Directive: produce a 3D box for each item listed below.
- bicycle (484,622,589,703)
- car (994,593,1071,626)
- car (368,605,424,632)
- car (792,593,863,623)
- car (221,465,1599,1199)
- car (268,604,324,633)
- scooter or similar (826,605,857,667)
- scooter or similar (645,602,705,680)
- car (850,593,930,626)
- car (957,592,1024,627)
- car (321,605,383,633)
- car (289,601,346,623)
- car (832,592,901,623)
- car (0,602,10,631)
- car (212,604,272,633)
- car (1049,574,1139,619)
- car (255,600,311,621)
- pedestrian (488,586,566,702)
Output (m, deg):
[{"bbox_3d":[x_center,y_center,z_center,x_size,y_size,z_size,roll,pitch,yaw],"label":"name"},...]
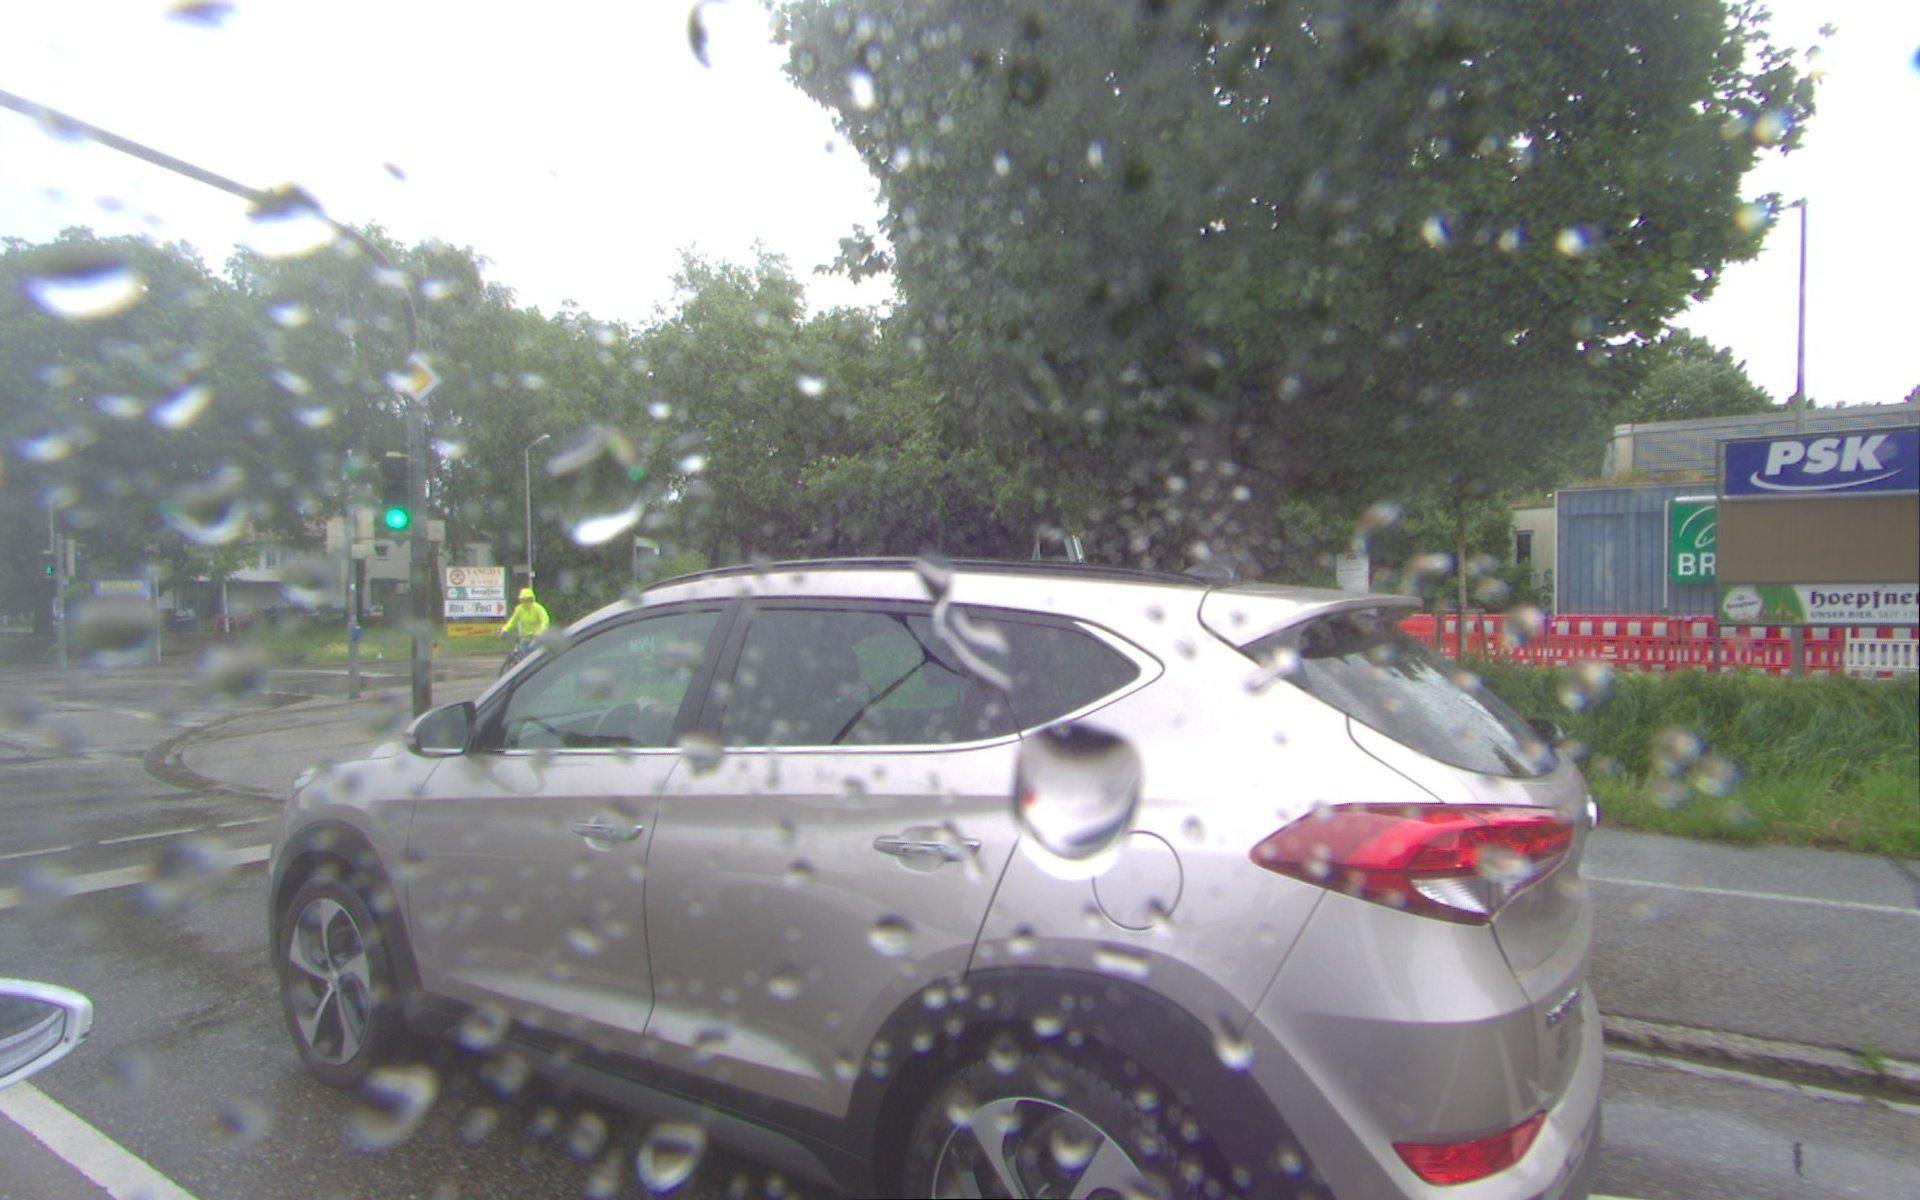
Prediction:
[{"bbox_3d":[-6.596,0.955,15.692,0.774,1.053,1.663,-2,3,5],"label":"bicycle"},{"bbox_3d":[3.553,0.492,48.460,1.900,1.508,4.171,-1,-2,34],"label":"car"},{"bbox_3d":[-31.208,1.067,55.543,1.573,1.467,3.751,0,-2,-11],"label":"car"},{"bbox_3d":[-7.382,0.486,56.403,1.894,1.603,4.590,-1,-2,23],"label":"car"},{"bbox_3d":[-0.402,0.711,3.232,4.137,1.631,1.880,-2,-2,33],"label":"car"},{"bbox_3d":[-36.105,1.037,54.525,1.641,1.467,3.744,0,-2,-19],"label":"car"},{"bbox_3d":[-2.307,0.702,19.530,0.553,1.192,0.284,0,1,39],"label":"scooter or similar"},{"bbox_3d":[-4.709,0.657,16.564,0.317,1.246,0.954,0,1,36],"label":"scooter or similar"},{"bbox_3d":[-3.634,0.545,52.755,1.898,1.651,4.579,-1,-2,31],"label":"car"},{"bbox_3d":[1.580,0.511,50.173,1.697,1.617,3.649,-1,-2,34],"label":"car"},{"bbox_3d":[-33.250,1.046,54.852,1.638,1.467,3.751,0,-2,-11],"label":"car"},{"bbox_3d":[-43.194,0.842,67.272,3.940,1.403,1.582,-1,-2,29],"label":"car"},{"bbox_3d":[-5.107,0.471,55.319,1.894,1.603,4.590,-1,-2,23],"label":"car"},{"bbox_3d":[-59.137,1.012,59.916,4.805,1.740,1.990,-1,1,30],"label":"car"},{"bbox_3d":[-38.380,1.008,53.619,1.641,1.467,3.744,0,-2,-19],"label":"car"},{"bbox_3d":[6.360,-0.123,47.319,4.145,1.990,1.912,1,-2,-37],"label":"car"},{"bbox_3d":[-43.996,0.709,65.078,3.645,1.333,1.571,-1,-1,29],"label":"car"},{"bbox_3d":[-6.631,0.662,15.377,0.774,1.702,0.668,-2,4,5],"label":"pedestrian"}]
